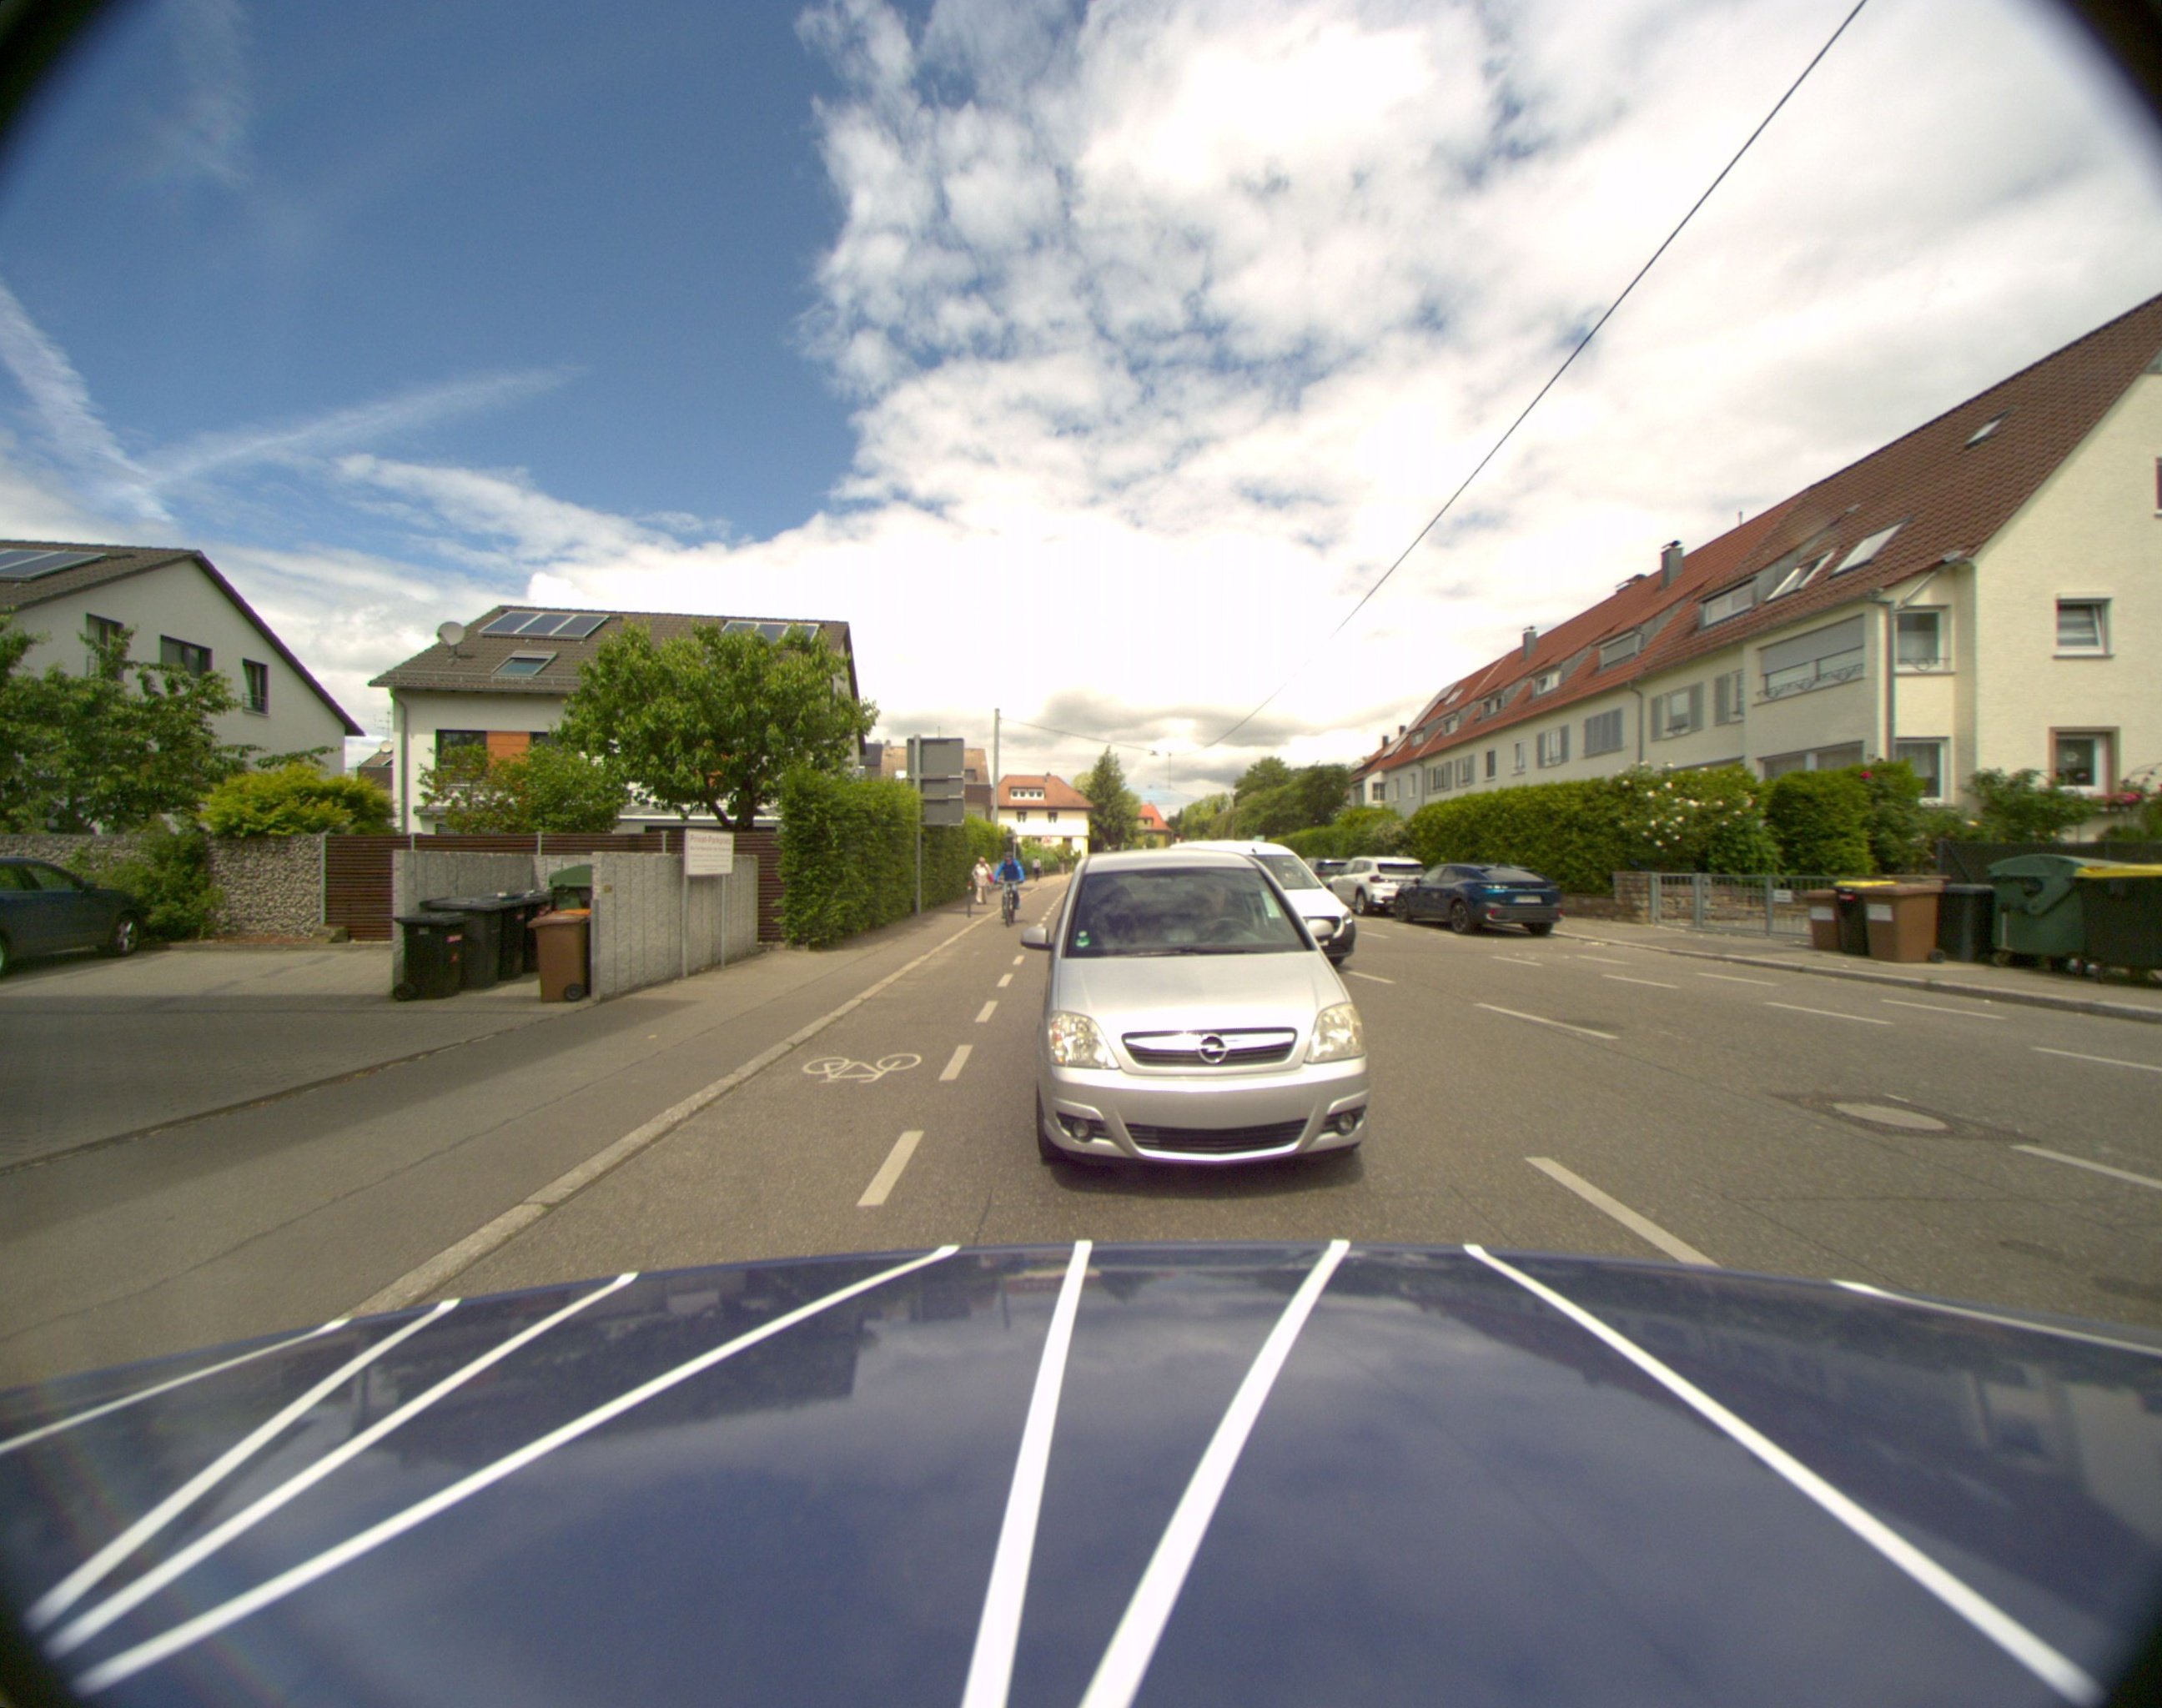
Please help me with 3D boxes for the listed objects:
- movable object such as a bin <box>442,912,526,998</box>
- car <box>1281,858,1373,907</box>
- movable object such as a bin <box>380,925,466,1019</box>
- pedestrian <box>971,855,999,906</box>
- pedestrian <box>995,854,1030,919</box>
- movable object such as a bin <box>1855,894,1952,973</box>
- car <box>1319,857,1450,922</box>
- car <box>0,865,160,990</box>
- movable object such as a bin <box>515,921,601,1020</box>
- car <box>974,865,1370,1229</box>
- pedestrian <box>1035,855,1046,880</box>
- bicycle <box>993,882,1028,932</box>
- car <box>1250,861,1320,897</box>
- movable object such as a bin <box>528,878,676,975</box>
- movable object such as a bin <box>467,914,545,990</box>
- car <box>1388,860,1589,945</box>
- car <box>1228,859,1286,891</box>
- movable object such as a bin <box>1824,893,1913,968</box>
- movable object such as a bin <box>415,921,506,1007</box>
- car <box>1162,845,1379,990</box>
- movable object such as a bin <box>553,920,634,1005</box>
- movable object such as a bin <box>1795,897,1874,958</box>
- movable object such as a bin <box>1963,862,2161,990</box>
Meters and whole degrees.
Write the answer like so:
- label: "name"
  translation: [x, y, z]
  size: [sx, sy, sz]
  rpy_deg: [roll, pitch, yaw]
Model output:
- label: "movable object such as a bin"
  translation: [-7.291, 1.217, 9.299]
  size: [0.629, 0.962, 0.539]
  rpy_deg: [-1, 1, -16]
- label: "car"
  translation: [8.665, 0.943, 27.255]
  size: [1.998, 1.555, 4.690]
  rpy_deg: [0, 0, 3]
- label: "movable object such as a bin"
  translation: [-7.083, 1.254, 8.202]
  size: [0.494, 0.907, 0.539]
  rpy_deg: [-1, 1, -16]
- label: "pedestrian"
  translation: [-3.145, 0.857, 24.938]
  size: [0.800, 1.608, 0.653]
  rpy_deg: [1, 1, 2]
- label: "pedestrian"
  translation: [-1.639, 0.762, 18.311]
  size: [0.736, 1.508, 0.872]
  rpy_deg: [-1, 1, 1]
- label: "movable object such as a bin"
  translation: [11.138, 1.062, 10.314]
  size: [0.597, 1.001, 0.658]
  rpy_deg: [0, 0, 1]
- label: "car"
  translation: [8.523, 0.922, 21.826]
  size: [1.998, 1.641, 4.517]
  rpy_deg: [0, 0, 1]
- label: "car"
  translation: [-14.692, 0.939, 9.997]
  size: [1.790, 1.527, 3.789]
  rpy_deg: [0, 0, -25]
- label: "movable object such as a bin"
  translation: [-5.615, 1.230, 8.193]
  size: [0.534, 0.945, 0.686]
  rpy_deg: [-1, 0, -13]
- label: "car"
  translation: [0.557, 0.900, 5.540]
  size: [1.707, 1.531, 4.332]
  rpy_deg: [-2, 0, 4]
- label: "pedestrian"
  translation: [-2.644, 0.884, 49.352]
  size: [0.604, 1.596, 0.836]
  rpy_deg: [2, 1, 2]
- label: "bicycle"
  translation: [-1.683, 1.241, 18.358]
  size: [0.536, 1.039, 2.409]
  rpy_deg: [-1, 0, 2]
- label: "car"
  translation: [8.697, 1.018, 32.785]
  size: [1.998, 1.400, 4.690]
  rpy_deg: [0, 0, 3]
- label: "movable object such as a bin"
  translation: [-6.930, 1.012, 11.122]
  size: [1.192, 1.255, 1.535]
  rpy_deg: [-1, 0, -2]
- label: "movable object such as a bin"
  translation: [-7.427, 1.255, 9.833]
  size: [0.635, 0.887, 0.539]
  rpy_deg: [-1, 1, -16]
- label: "car"
  translation: [8.726, 0.951, 16.819]
  size: [1.999, 1.578, 4.488]
  rpy_deg: [0, 0, -1]
- label: "car"
  translation: [8.858, 0.998, 38.520]
  size: [1.782, 1.483, 4.565]
  rpy_deg: [0, 0, -1]
- label: "movable object such as a bin"
  translation: [11.361, 1.084, 10.981]
  size: [0.597, 1.018, 0.658]
  rpy_deg: [0, 0, 1]
- label: "movable object such as a bin"
  translation: [-7.140, 1.252, 8.767]
  size: [0.635, 0.887, 0.539]
  rpy_deg: [-1, 1, -16]
- label: "car"
  translation: [2.581, 0.778, 11.474]
  size: [1.781, 1.760, 4.186]
  rpy_deg: [-1, 0, -7]
- label: "movable object such as a bin"
  translation: [-5.720, 1.259, 8.953]
  size: [0.533, 0.887, 0.679]
  rpy_deg: [-1, 0, -5]
- label: "movable object such as a bin"
  translation: [11.521, 1.107, 11.634]
  size: [0.597, 0.874, 0.614]
  rpy_deg: [0, 0, 1]
- label: "movable object such as a bin"
  translation: [12.190, 0.840, 9.435]
  size: [1.068, 1.473, 1.214]
  rpy_deg: [0, 0, -1]
